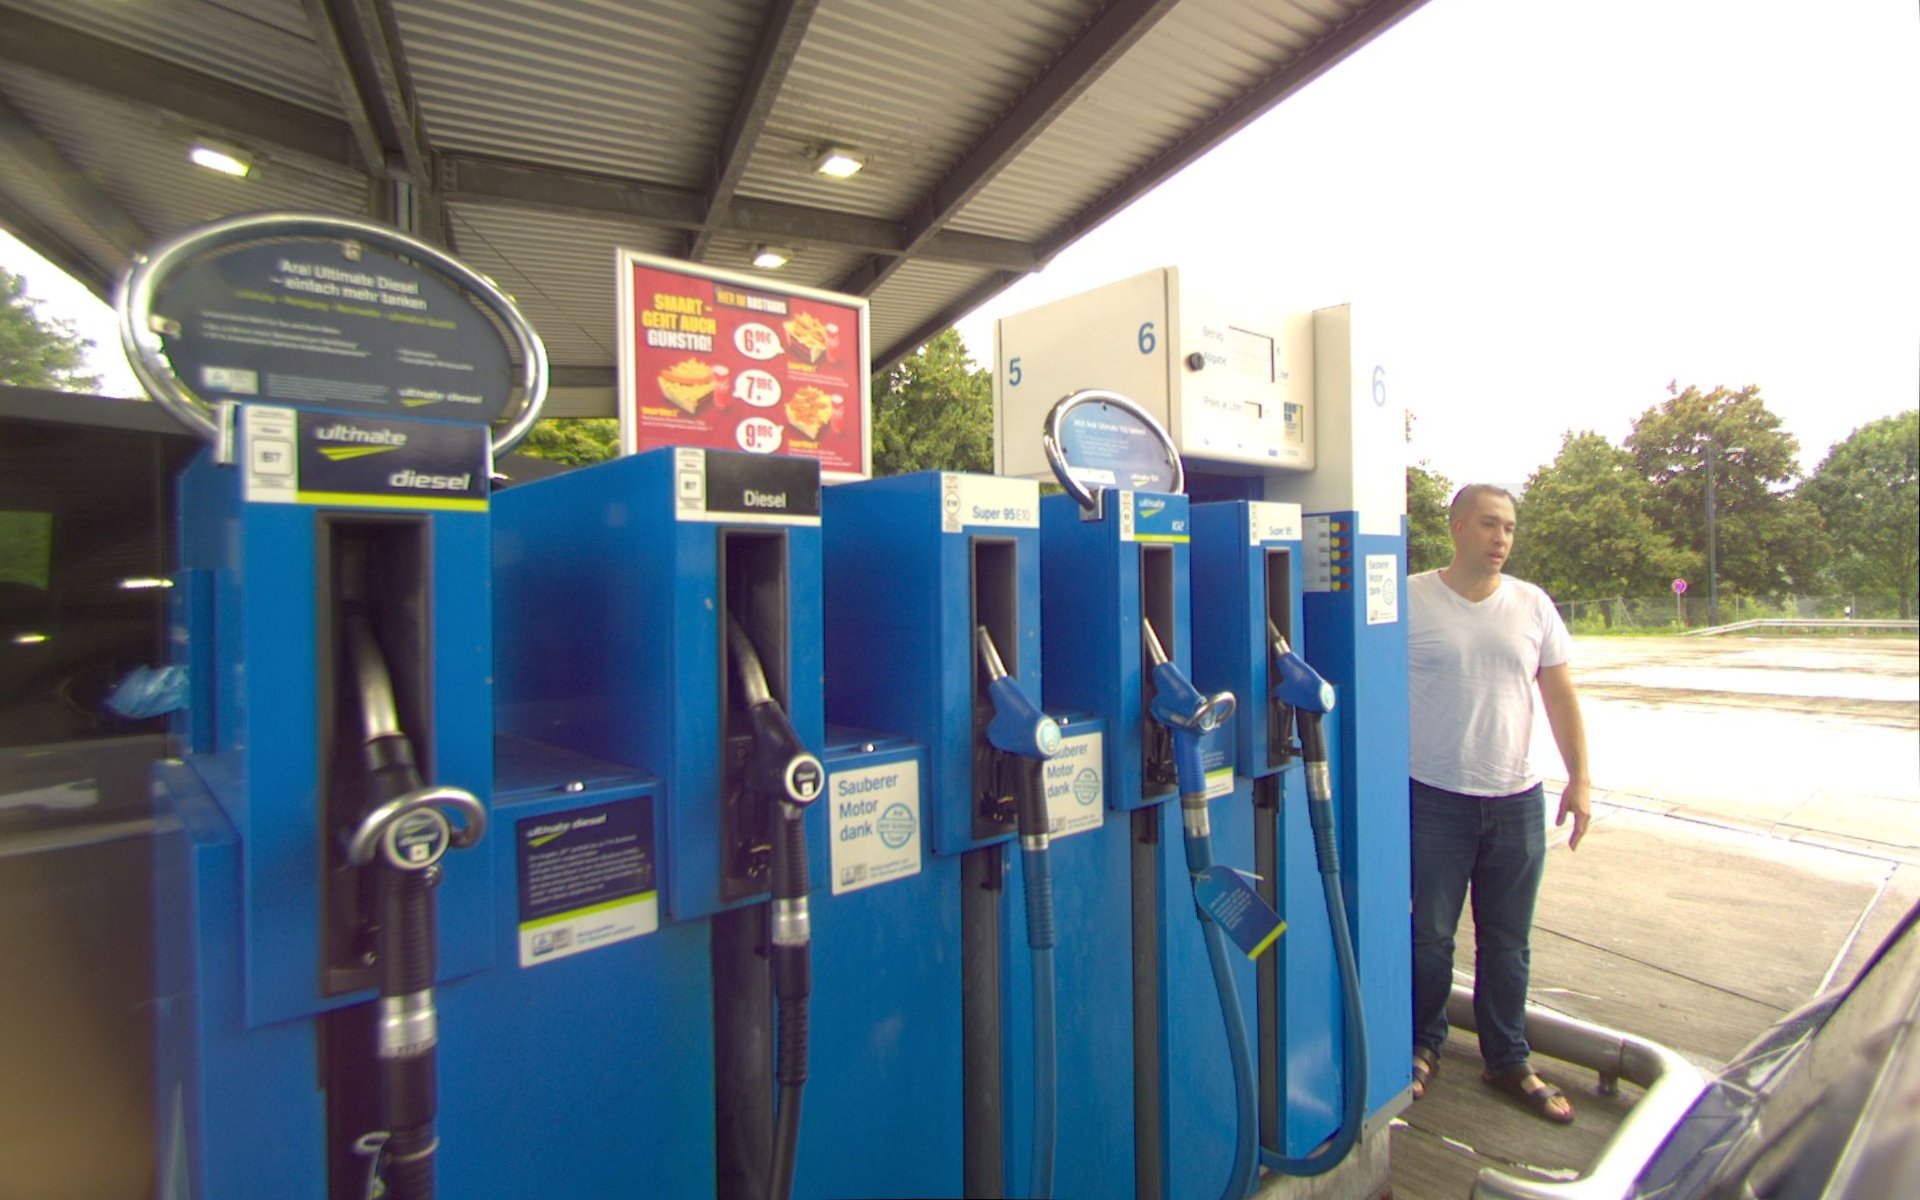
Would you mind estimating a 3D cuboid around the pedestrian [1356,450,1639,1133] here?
[{"bbox_3d":[1.567,0.512,3.029,0.625,1.832,0.492,-1,1,15],"label":"pedestrian"}]

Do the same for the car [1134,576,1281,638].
[{"bbox_3d":[8.364,0.205,34.457,4.700,2.011,2.007,0,0,14],"label":"car"}]

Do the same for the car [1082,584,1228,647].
[{"bbox_3d":[5.810,0.417,30.014,4.123,1.752,1.990,1,0,17],"label":"car"}]

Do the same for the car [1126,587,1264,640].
[{"bbox_3d":[7.463,0.401,32.129,4.123,1.576,1.990,1,0,17],"label":"car"}]

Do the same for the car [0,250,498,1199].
[{"bbox_3d":[-3.023,0.426,1.480,3.930,1.973,1.819,0,0,-41],"label":"car"}]

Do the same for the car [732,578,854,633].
[{"bbox_3d":[-5.580,0.145,33.497,1.967,1.683,4.170,0,0,-44],"label":"car"}]
